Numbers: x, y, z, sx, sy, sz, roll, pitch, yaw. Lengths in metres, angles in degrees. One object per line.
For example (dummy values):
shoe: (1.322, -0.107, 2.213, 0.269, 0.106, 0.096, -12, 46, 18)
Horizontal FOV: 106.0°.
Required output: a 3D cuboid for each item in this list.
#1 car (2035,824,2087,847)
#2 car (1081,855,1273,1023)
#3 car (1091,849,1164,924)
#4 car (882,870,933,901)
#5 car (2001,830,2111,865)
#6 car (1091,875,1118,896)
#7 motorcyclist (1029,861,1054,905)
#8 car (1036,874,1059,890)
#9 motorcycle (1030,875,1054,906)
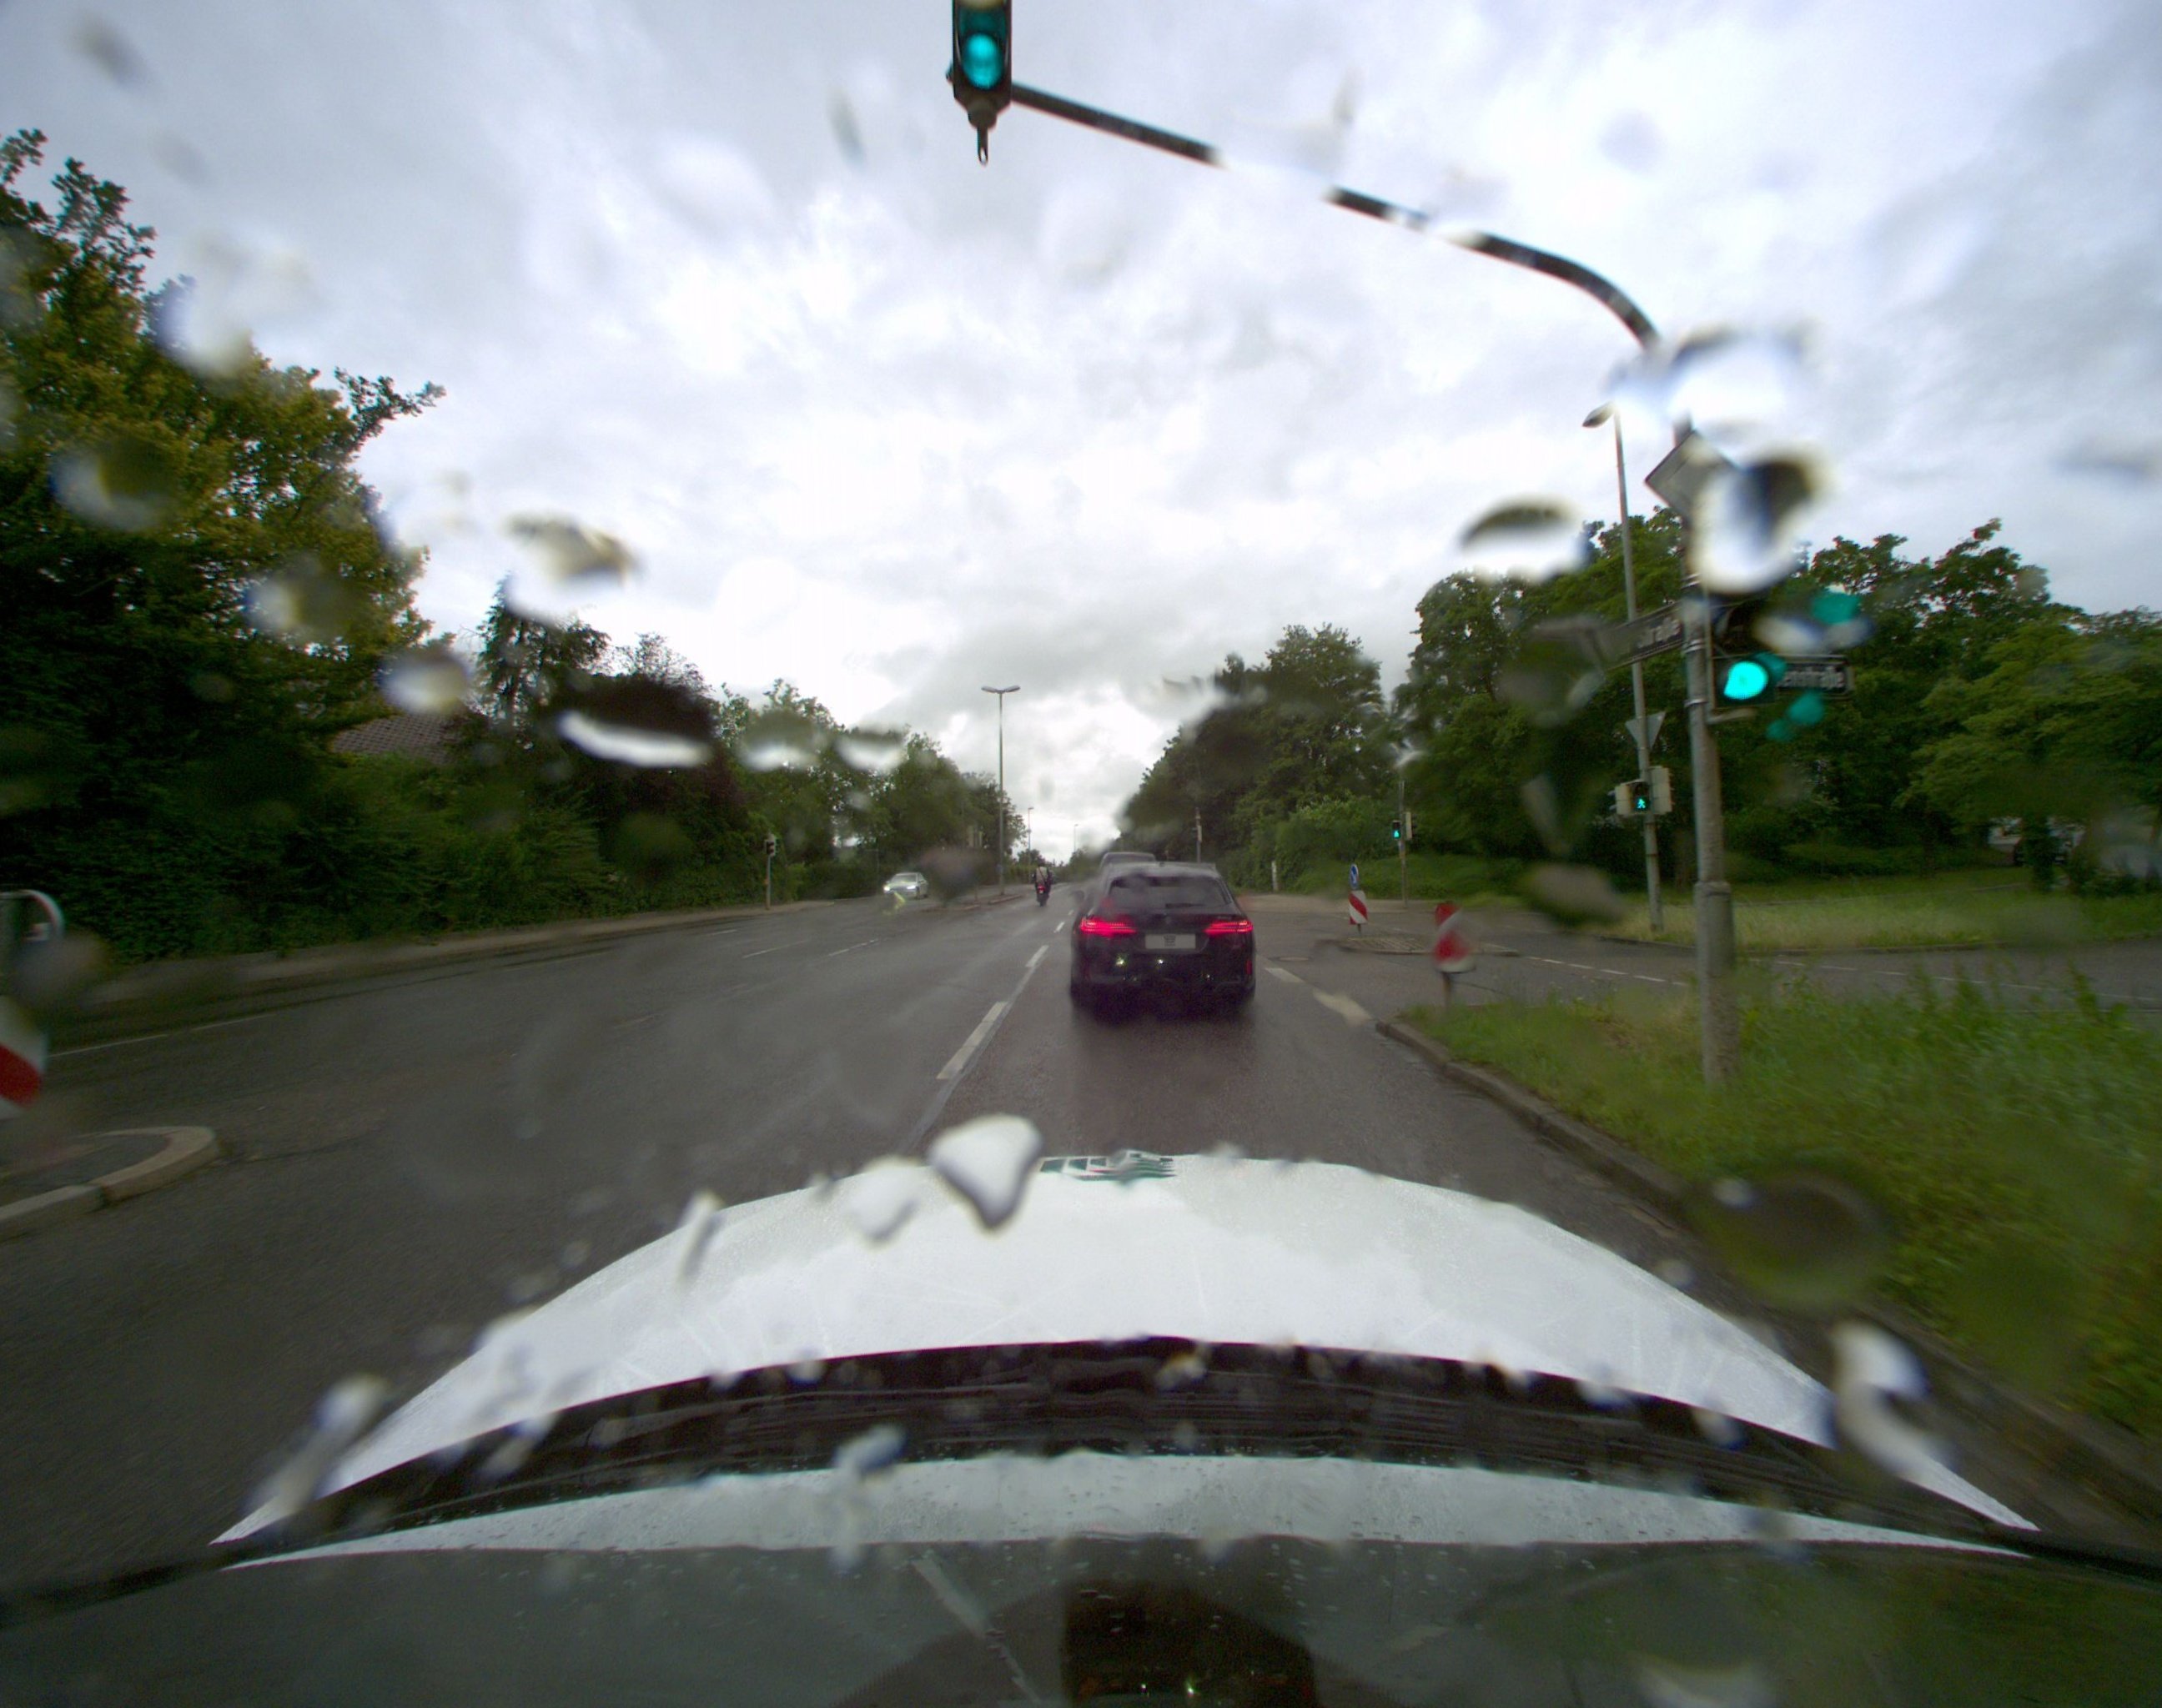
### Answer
car: (67.213, -1.242, 55.867, 4.012, 1.446, 1.686, 1, -1, -31)
car: (0.981, 0.789, 9.359, 1.757, 1.536, 3.675, 0, 0, 3)
car: (1.230, 0.787, 21.712, 1.759, 1.810, 3.908, 0, 0, 3)
car: (-9.423, 1.688, 44.533, 1.721, 1.485, 4.158, -3, -1, 2)
car: (47.160, -0.309, 39.400, 3.992, 1.571, 1.819, -2, -1, -14)
car: (1.863, 2.425, 63.550, 2.006, 1.415, 4.490, 0, 0, 3)
motorcyclist: (-1.470, 1.072, 30.376, 0.842, 1.647, 0.468, -1, -1, 2)
car: (-3.530, 2.933, 86.411, 2.018, 1.563, 3.878, -2, -1, 2)
motorcycle: (-1.450, 1.345, 30.363, 0.738, 1.119, 1.427, 0, 0, 3)
